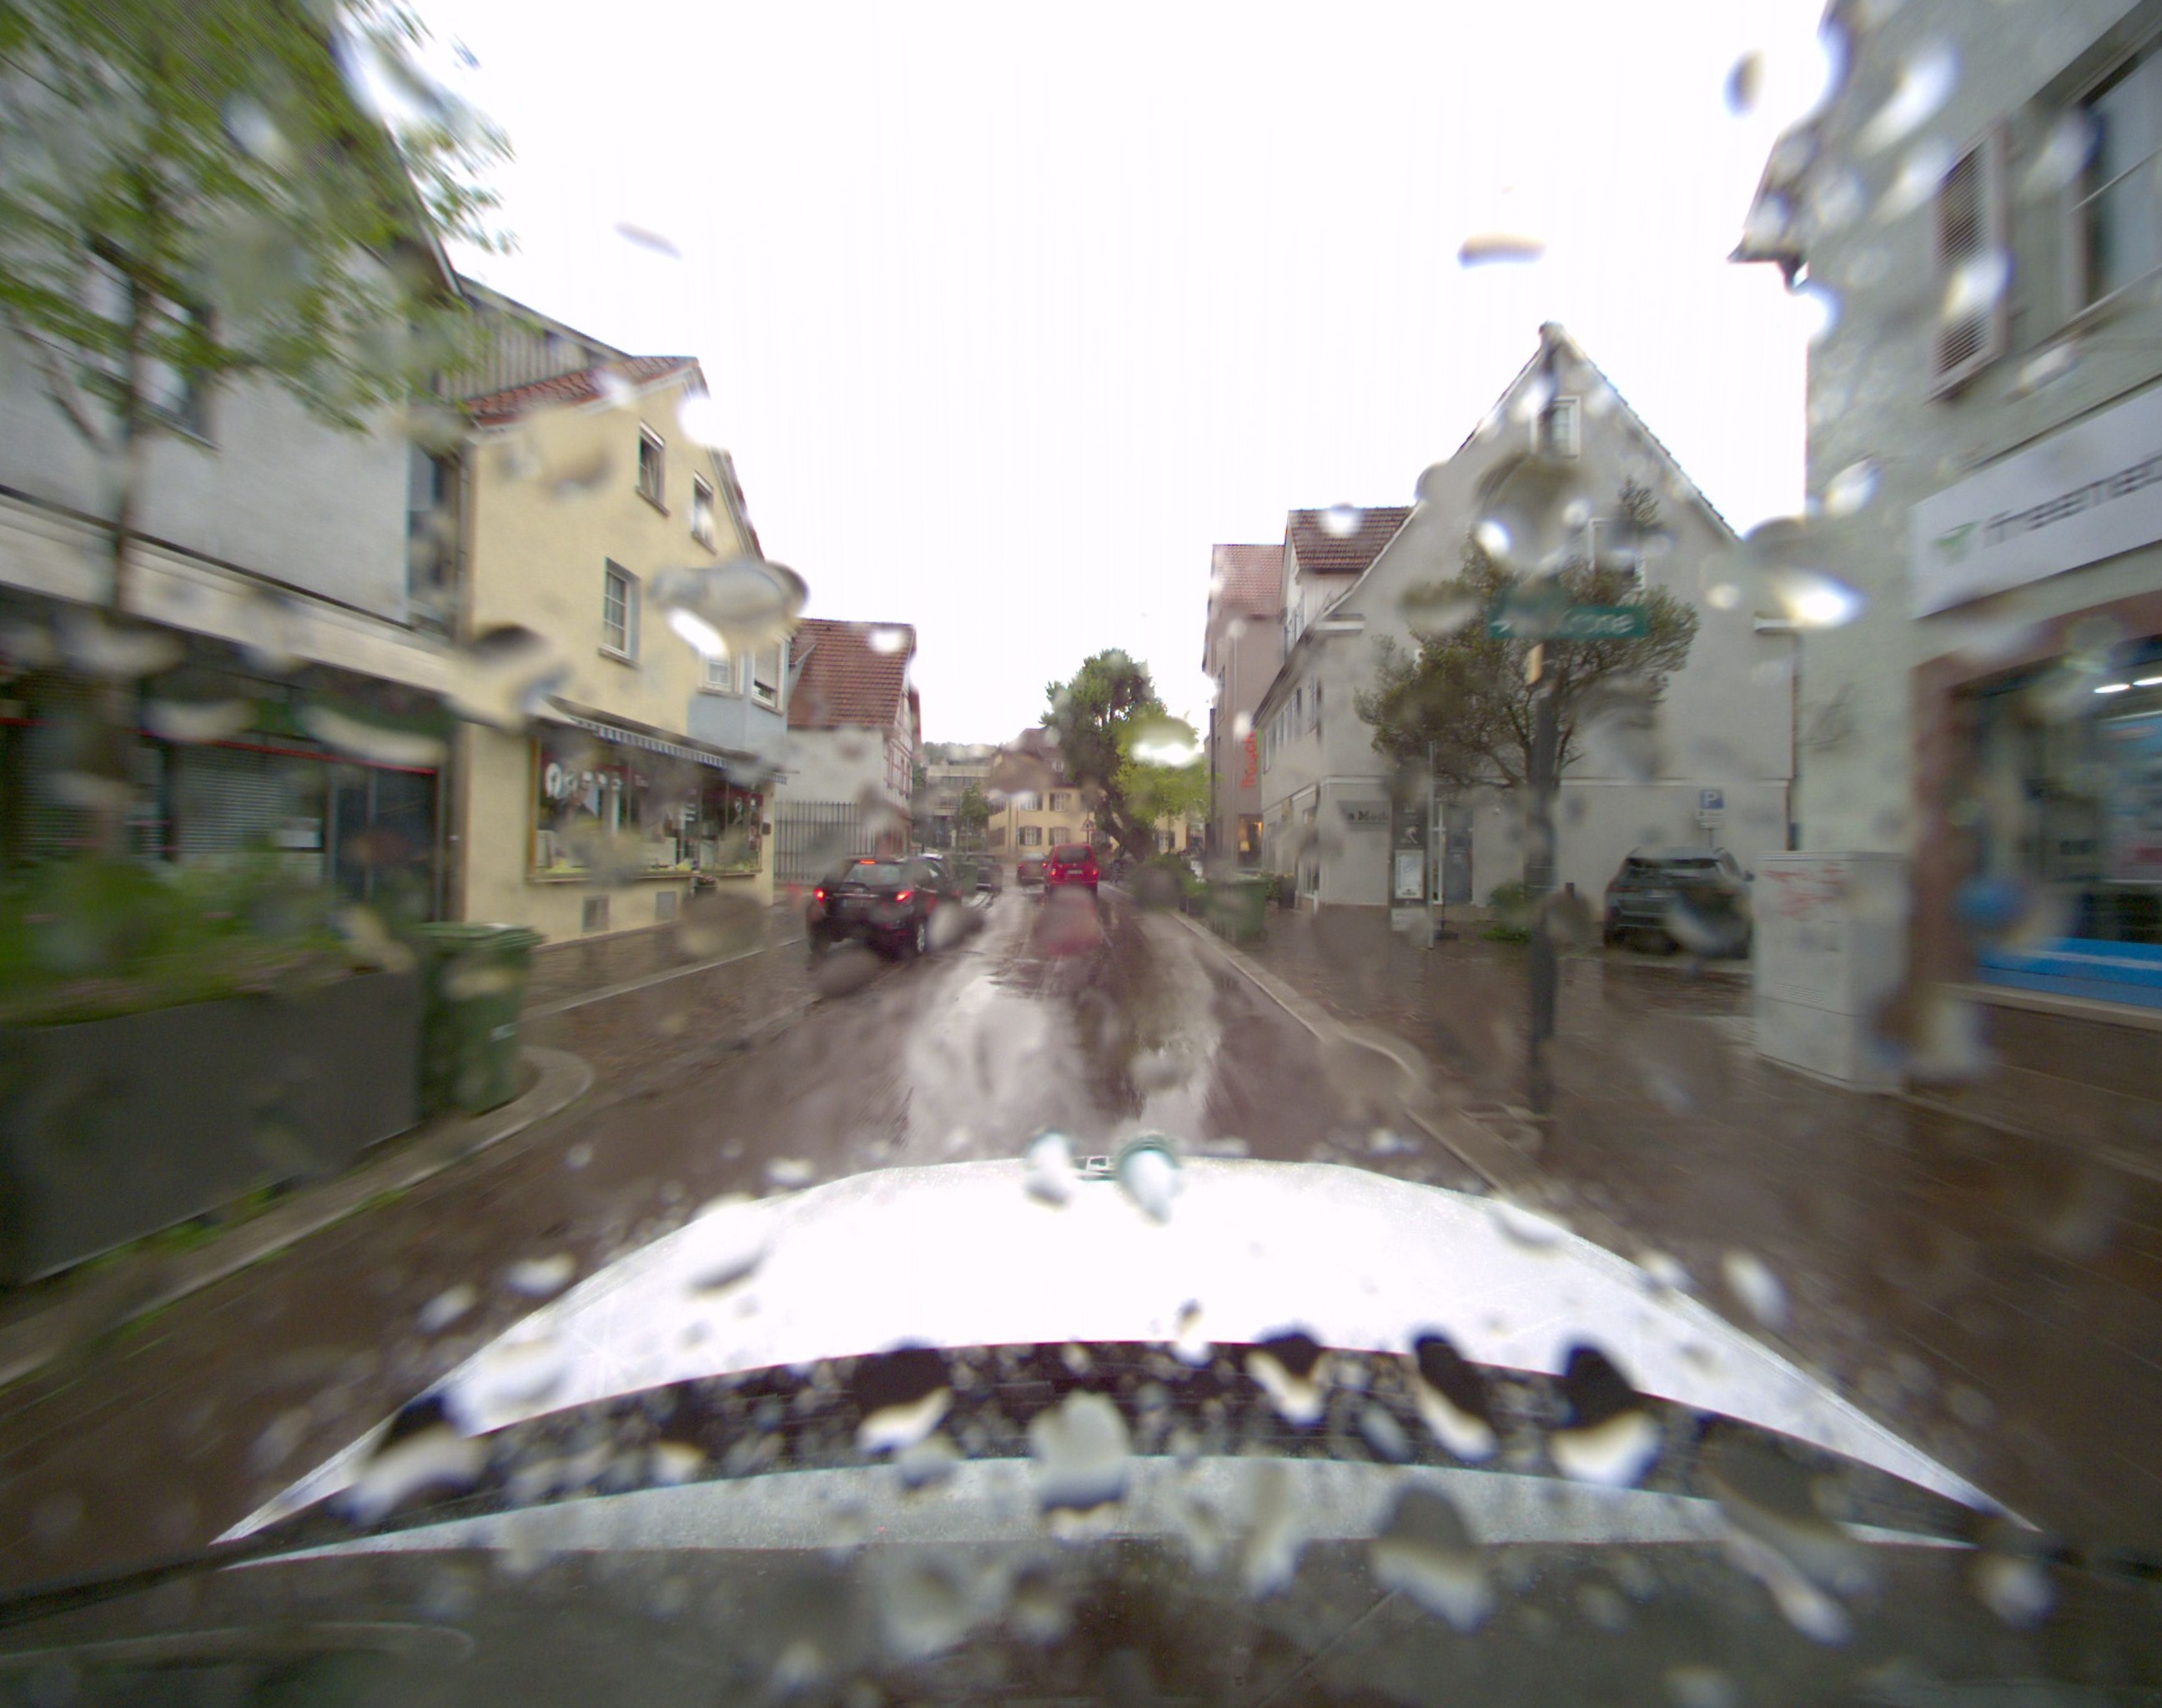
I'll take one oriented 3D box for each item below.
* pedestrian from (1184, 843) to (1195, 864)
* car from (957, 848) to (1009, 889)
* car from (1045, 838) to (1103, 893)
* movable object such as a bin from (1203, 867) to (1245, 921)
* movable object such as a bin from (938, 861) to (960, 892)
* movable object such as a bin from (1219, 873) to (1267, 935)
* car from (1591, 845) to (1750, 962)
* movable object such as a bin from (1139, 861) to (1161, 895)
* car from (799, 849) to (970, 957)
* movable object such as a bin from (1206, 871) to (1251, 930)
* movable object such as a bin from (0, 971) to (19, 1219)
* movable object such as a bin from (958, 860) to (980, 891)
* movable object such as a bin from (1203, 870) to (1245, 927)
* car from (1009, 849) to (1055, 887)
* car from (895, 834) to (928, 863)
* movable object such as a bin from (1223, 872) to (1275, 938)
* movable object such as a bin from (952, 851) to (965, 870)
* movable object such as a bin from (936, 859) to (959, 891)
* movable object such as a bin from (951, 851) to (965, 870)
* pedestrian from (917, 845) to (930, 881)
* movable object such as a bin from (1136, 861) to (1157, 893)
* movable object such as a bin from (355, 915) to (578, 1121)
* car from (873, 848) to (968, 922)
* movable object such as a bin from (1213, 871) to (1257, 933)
[{"bbox_3d":[9.640,-0.008,72.307,0.895,1.842,0.766,2,-2,0],"label":"pedestrian"},{"bbox_3d":[-4.134,0.568,33.904,1.789,1.495,3.985,2,1,-11],"label":"car"},{"bbox_3d":[-0.340,0.357,30.057,1.890,1.811,3.996,3,1,-3],"label":"car"},{"bbox_3d":[2.960,0.814,16.948,0.751,1.090,0.656,0,0,-2],"label":"movable object such as a bin"},{"bbox_3d":[-4.888,0.836,30.200,0.725,1.110,0.595,2,-2,-6],"label":"movable object such as a bin"},{"bbox_3d":[2.882,0.876,14.534,0.751,1.064,0.600,2,-1,2],"label":"movable object such as a bin"},{"bbox_3d":[9.848,0.666,13.521,1.864,1.599,4.419,1,1,38],"label":"car"},{"bbox_3d":[2.384,0.819,28.216,0.630,1.150,0.578,2,-2,-6],"label":"movable object such as a bin"},{"bbox_3d":[-3.054,0.677,13.487,1.685,1.443,3.887,2,1,3],"label":"car"},{"bbox_3d":[2.834,0.879,15.726,0.733,1.098,0.611,2,-2,-1],"label":"movable object such as a bin"},{"bbox_3d":[-3.708,0.880,2.170,0.783,1.085,0.694,2,-1,4],"label":"movable object such as a bin"},{"bbox_3d":[-4.071,0.786,29.708,0.725,1.110,0.595,2,-2,-6],"label":"movable object such as a bin"},{"bbox_3d":[2.854,0.879,16.330,0.733,1.098,0.611,1,-2,1],"label":"movable object such as a bin"},{"bbox_3d":[-2.534,0.715,41.305,1.992,1.799,3.989,2,-1,-8],"label":"car"},{"bbox_3d":[-16.305,-0.456,78.083,2.305,2.602,6.916,2,-1,-18],"label":"car"},{"bbox_3d":[2.856,0.853,13.903,0.765,1.079,0.599,2,-1,2],"label":"movable object such as a bin"},{"bbox_3d":[-7.403,0.373,49.133,0.714,1.106,0.598,2,-2,-8],"label":"movable object such as a bin"},{"bbox_3d":[-4.833,0.752,29.547,0.725,1.110,0.595,2,-2,-6],"label":"movable object such as a bin"},{"bbox_3d":[-7.544,0.383,49.850,0.794,1.106,0.720,2,-1,-8],"label":"movable object such as a bin"},{"bbox_3d":[-7.646,0.442,39.501,0.517,1.711,0.577,2,-2,-6],"label":"pedestrian"},{"bbox_3d":[2.325,0.813,28.806,0.630,1.104,0.578,2,-2,-6],"label":"movable object such as a bin"},{"bbox_3d":[-3.556,0.914,4.777,0.706,1.052,0.704,2,-1,3],"label":"movable object such as a bin"},{"bbox_3d":[-3.697,0.647,19.327,1.754,1.473,3.937,2,1,-5],"label":"car"},{"bbox_3d":[2.851,0.880,15.117,0.726,1.091,0.521,2,-2,2],"label":"movable object such as a bin"}]
